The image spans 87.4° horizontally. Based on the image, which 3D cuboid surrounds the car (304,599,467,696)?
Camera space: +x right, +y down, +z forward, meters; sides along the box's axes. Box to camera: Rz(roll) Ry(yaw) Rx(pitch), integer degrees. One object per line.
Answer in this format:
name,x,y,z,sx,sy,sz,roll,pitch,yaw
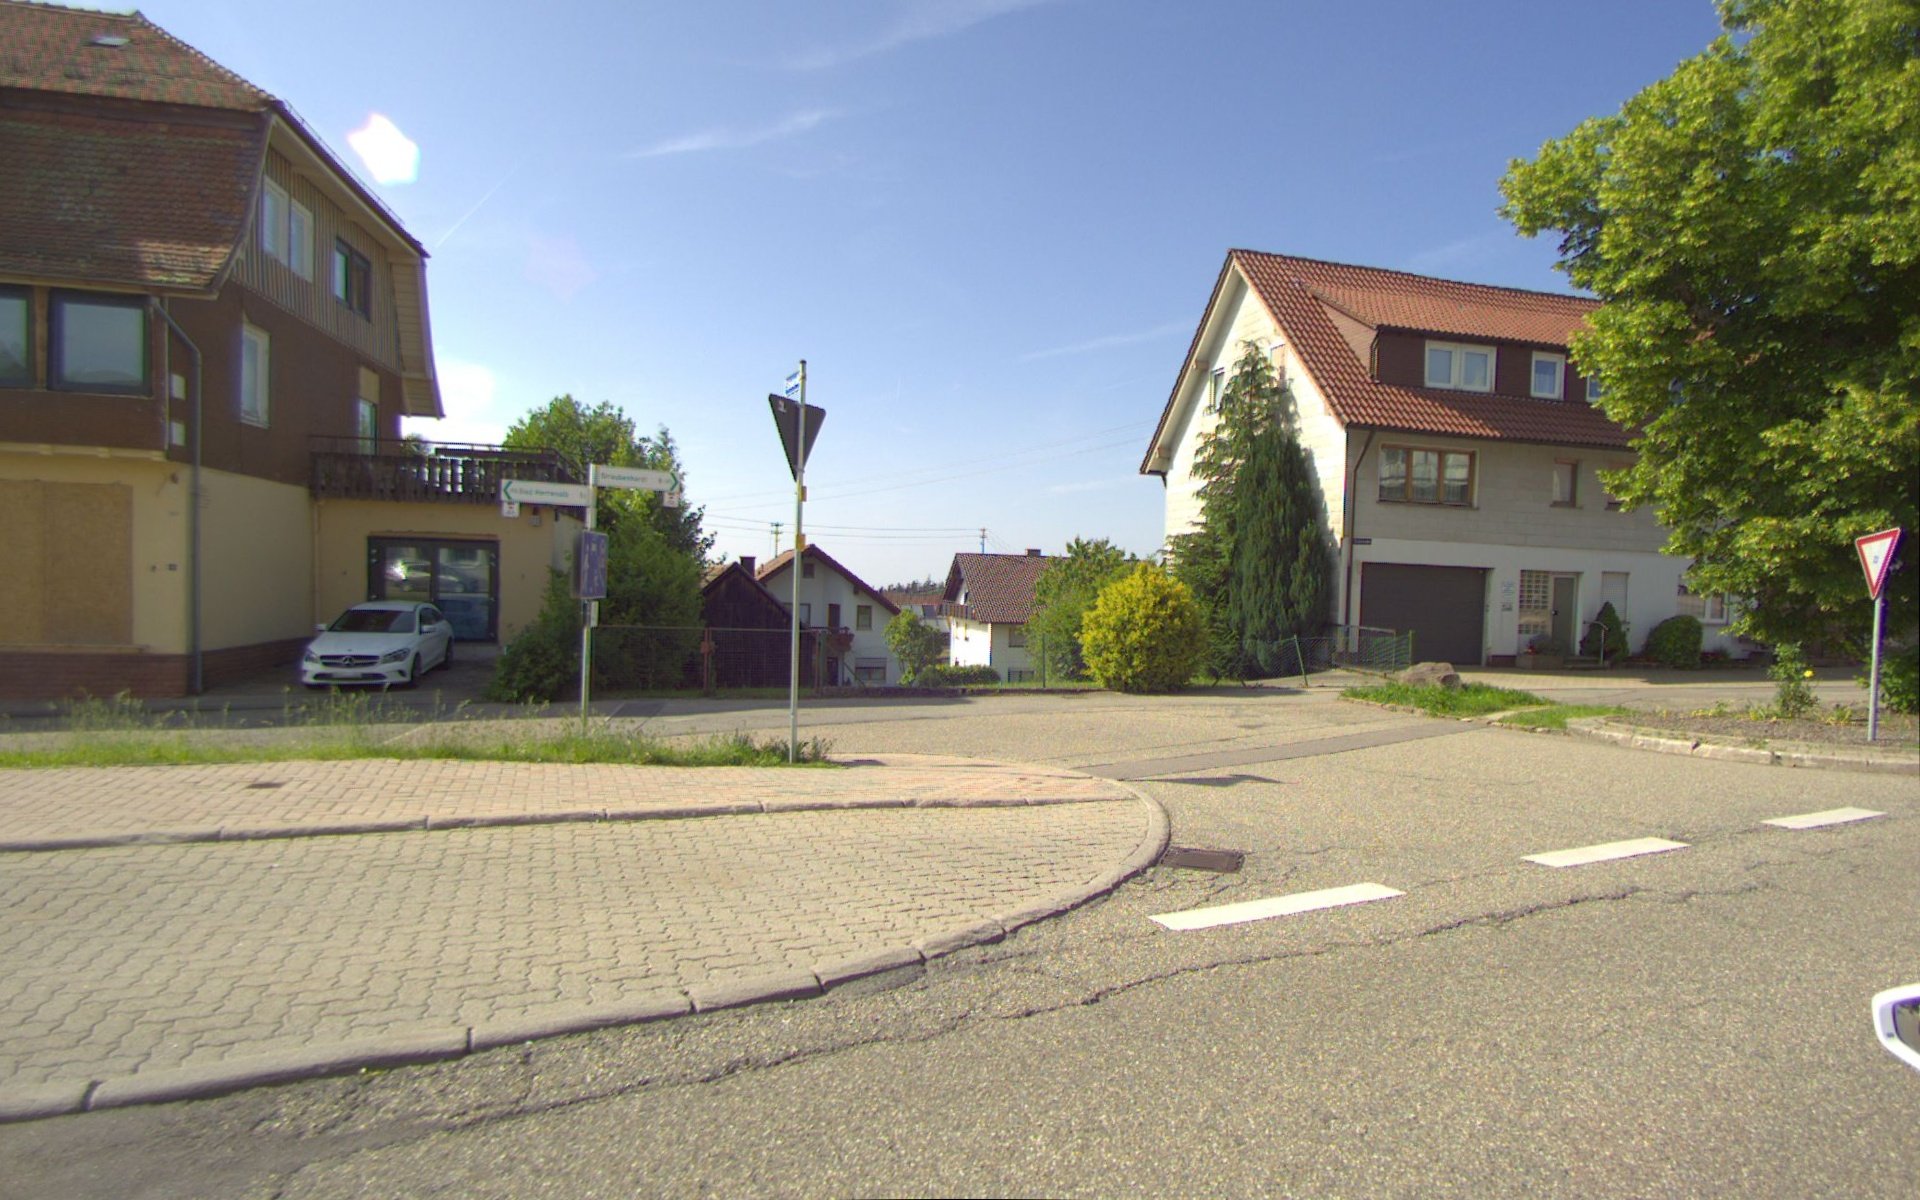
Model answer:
car,-10.971,0.836,19.509,1.771,1.531,4.299,3,1,-17
